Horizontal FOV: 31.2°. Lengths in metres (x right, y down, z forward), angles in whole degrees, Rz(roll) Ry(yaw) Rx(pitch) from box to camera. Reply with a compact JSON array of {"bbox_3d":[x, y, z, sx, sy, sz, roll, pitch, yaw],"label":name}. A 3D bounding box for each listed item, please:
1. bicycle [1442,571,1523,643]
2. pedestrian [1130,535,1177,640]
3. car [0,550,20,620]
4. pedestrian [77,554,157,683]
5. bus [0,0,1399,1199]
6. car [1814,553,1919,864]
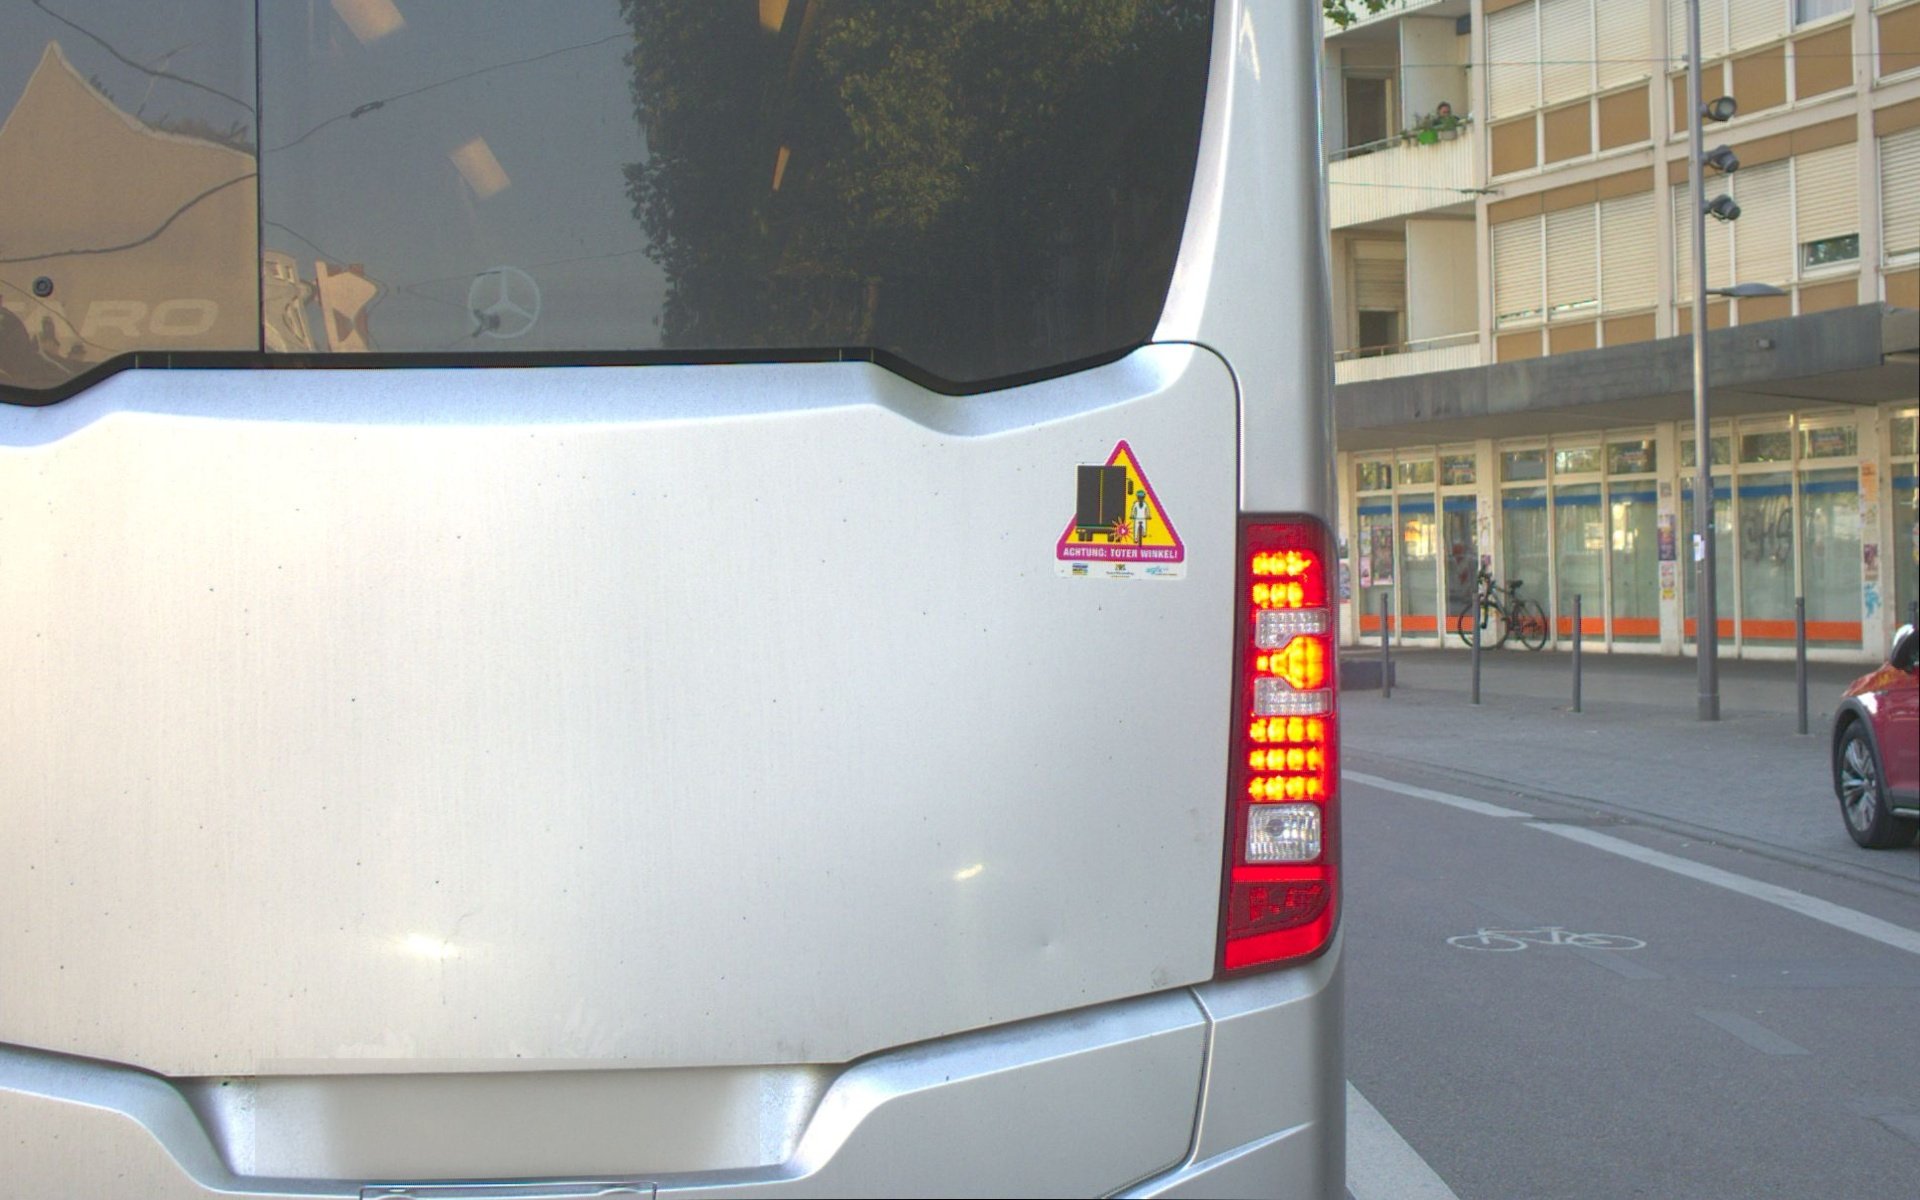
[{"bbox_3d":[6.972,0.092,45.929,0.412,0.941,1.441,-1,1,-20],"label":"bicycle"},{"bbox_3d":[3.062,-0.195,54.364,0.535,1.643,0.616,-1,1,-17],"label":"pedestrian"},{"bbox_3d":[-25.906,-0.399,88.049,1.994,1.785,3.998,1,0,-41],"label":"car"},{"bbox_3d":[-11.059,0.240,45.128,0.994,1.680,0.644,0,-1,-12],"label":"pedestrian"},{"bbox_3d":[-0.769,-0.143,9.801,2.630,3.017,9.998,0,1,-1],"label":"bus"},{"bbox_3d":[5.523,0.505,15.852,1.769,1.477,4.304,-2,1,-4],"label":"car"}]
